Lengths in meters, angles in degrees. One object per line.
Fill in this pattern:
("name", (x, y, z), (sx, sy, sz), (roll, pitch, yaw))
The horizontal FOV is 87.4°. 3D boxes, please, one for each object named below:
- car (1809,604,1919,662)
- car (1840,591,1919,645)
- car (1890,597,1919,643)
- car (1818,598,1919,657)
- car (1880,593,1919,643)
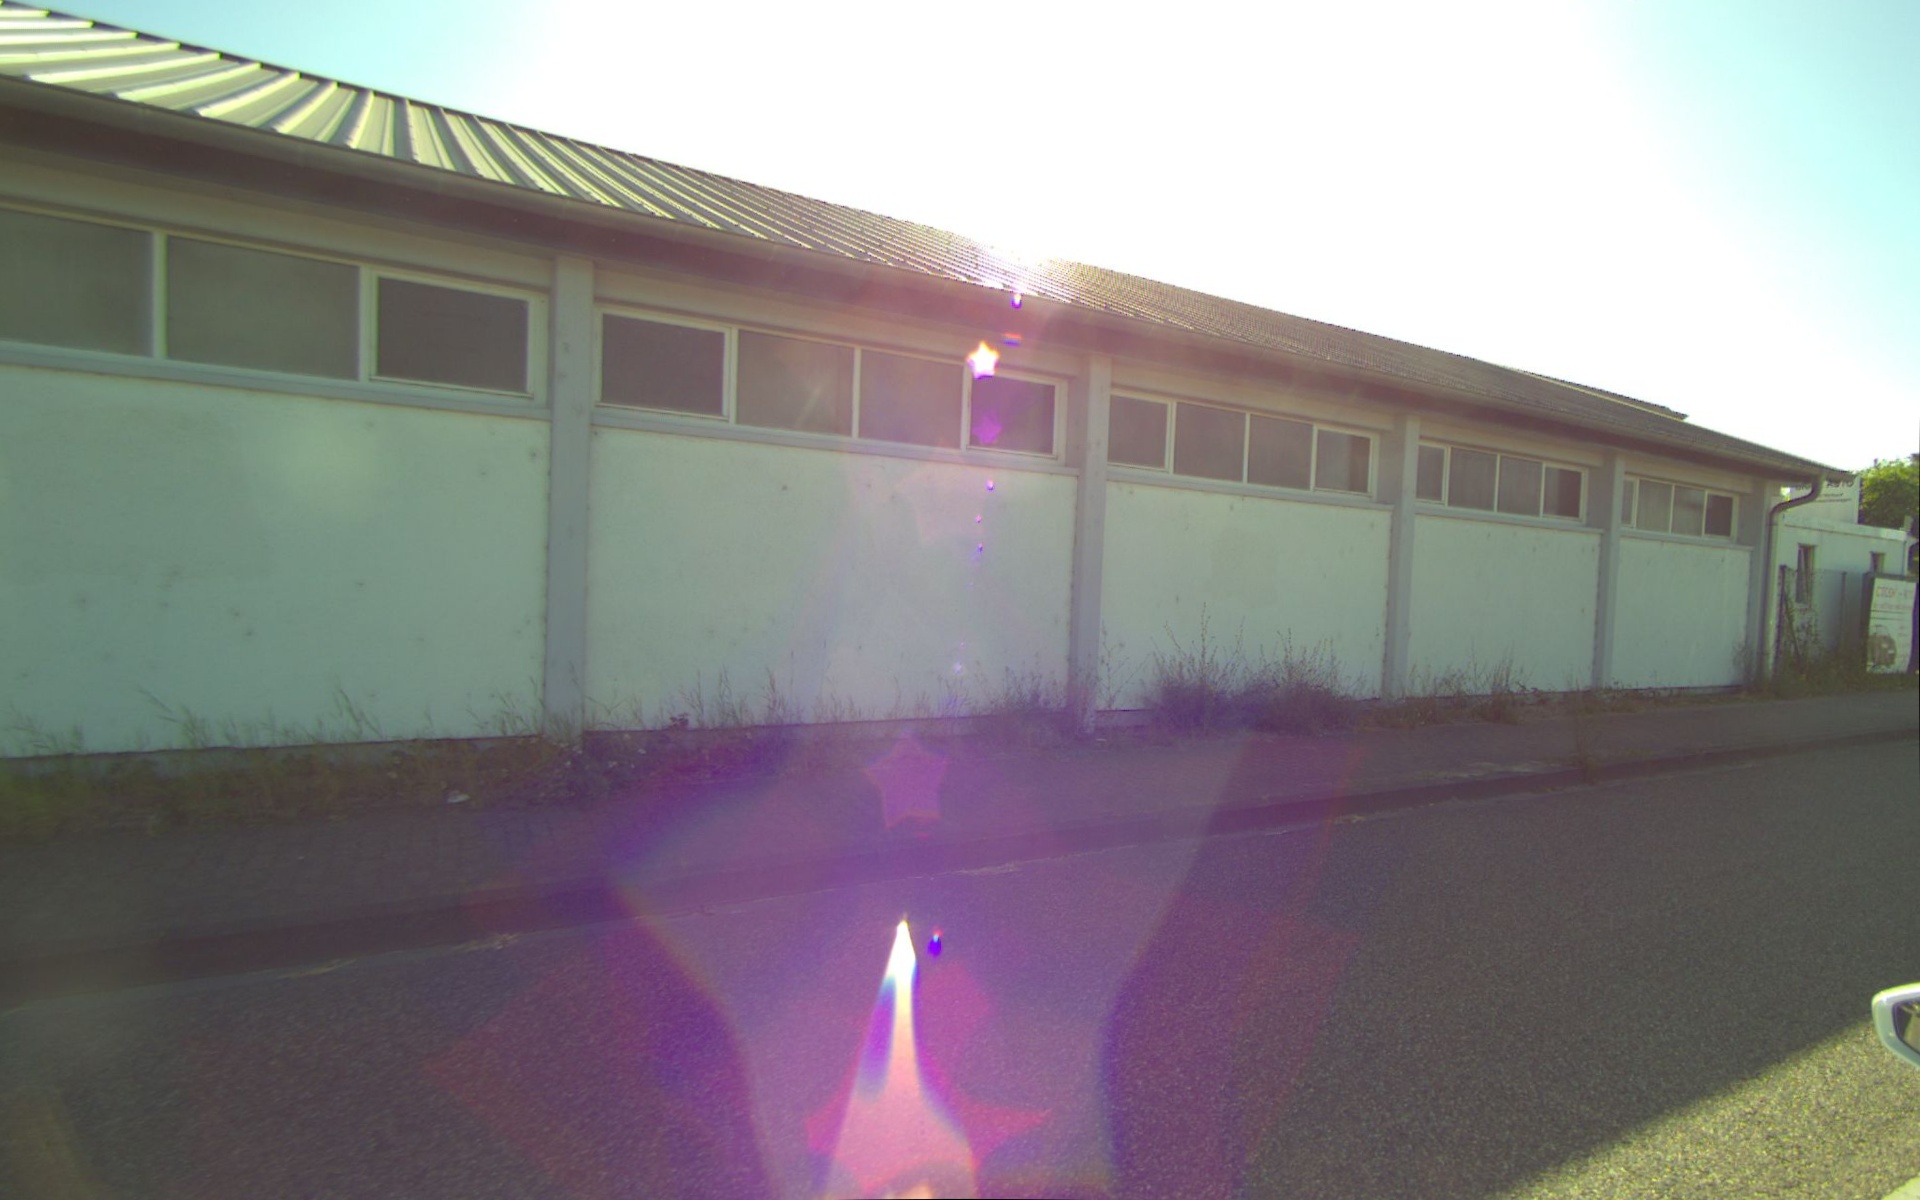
("car", (27.498, 0.979, 28.943), (1.825, 1.527, 4.352), (1, 2, -40))
("car", (31.187, 0.620, 32.136), (1.827, 1.671, 4.349), (1, 2, -42))
("car", (37.239, 0.807, 36.739), (4.323, 1.671, 1.837), (3, 2, 29))
("car", (29.304, 0.860, 30.741), (1.825, 1.671, 4.352), (1, 2, -40))
("car", (33.756, 0.680, 33.549), (1.828, 1.671, 4.345), (1, 2, -44))
